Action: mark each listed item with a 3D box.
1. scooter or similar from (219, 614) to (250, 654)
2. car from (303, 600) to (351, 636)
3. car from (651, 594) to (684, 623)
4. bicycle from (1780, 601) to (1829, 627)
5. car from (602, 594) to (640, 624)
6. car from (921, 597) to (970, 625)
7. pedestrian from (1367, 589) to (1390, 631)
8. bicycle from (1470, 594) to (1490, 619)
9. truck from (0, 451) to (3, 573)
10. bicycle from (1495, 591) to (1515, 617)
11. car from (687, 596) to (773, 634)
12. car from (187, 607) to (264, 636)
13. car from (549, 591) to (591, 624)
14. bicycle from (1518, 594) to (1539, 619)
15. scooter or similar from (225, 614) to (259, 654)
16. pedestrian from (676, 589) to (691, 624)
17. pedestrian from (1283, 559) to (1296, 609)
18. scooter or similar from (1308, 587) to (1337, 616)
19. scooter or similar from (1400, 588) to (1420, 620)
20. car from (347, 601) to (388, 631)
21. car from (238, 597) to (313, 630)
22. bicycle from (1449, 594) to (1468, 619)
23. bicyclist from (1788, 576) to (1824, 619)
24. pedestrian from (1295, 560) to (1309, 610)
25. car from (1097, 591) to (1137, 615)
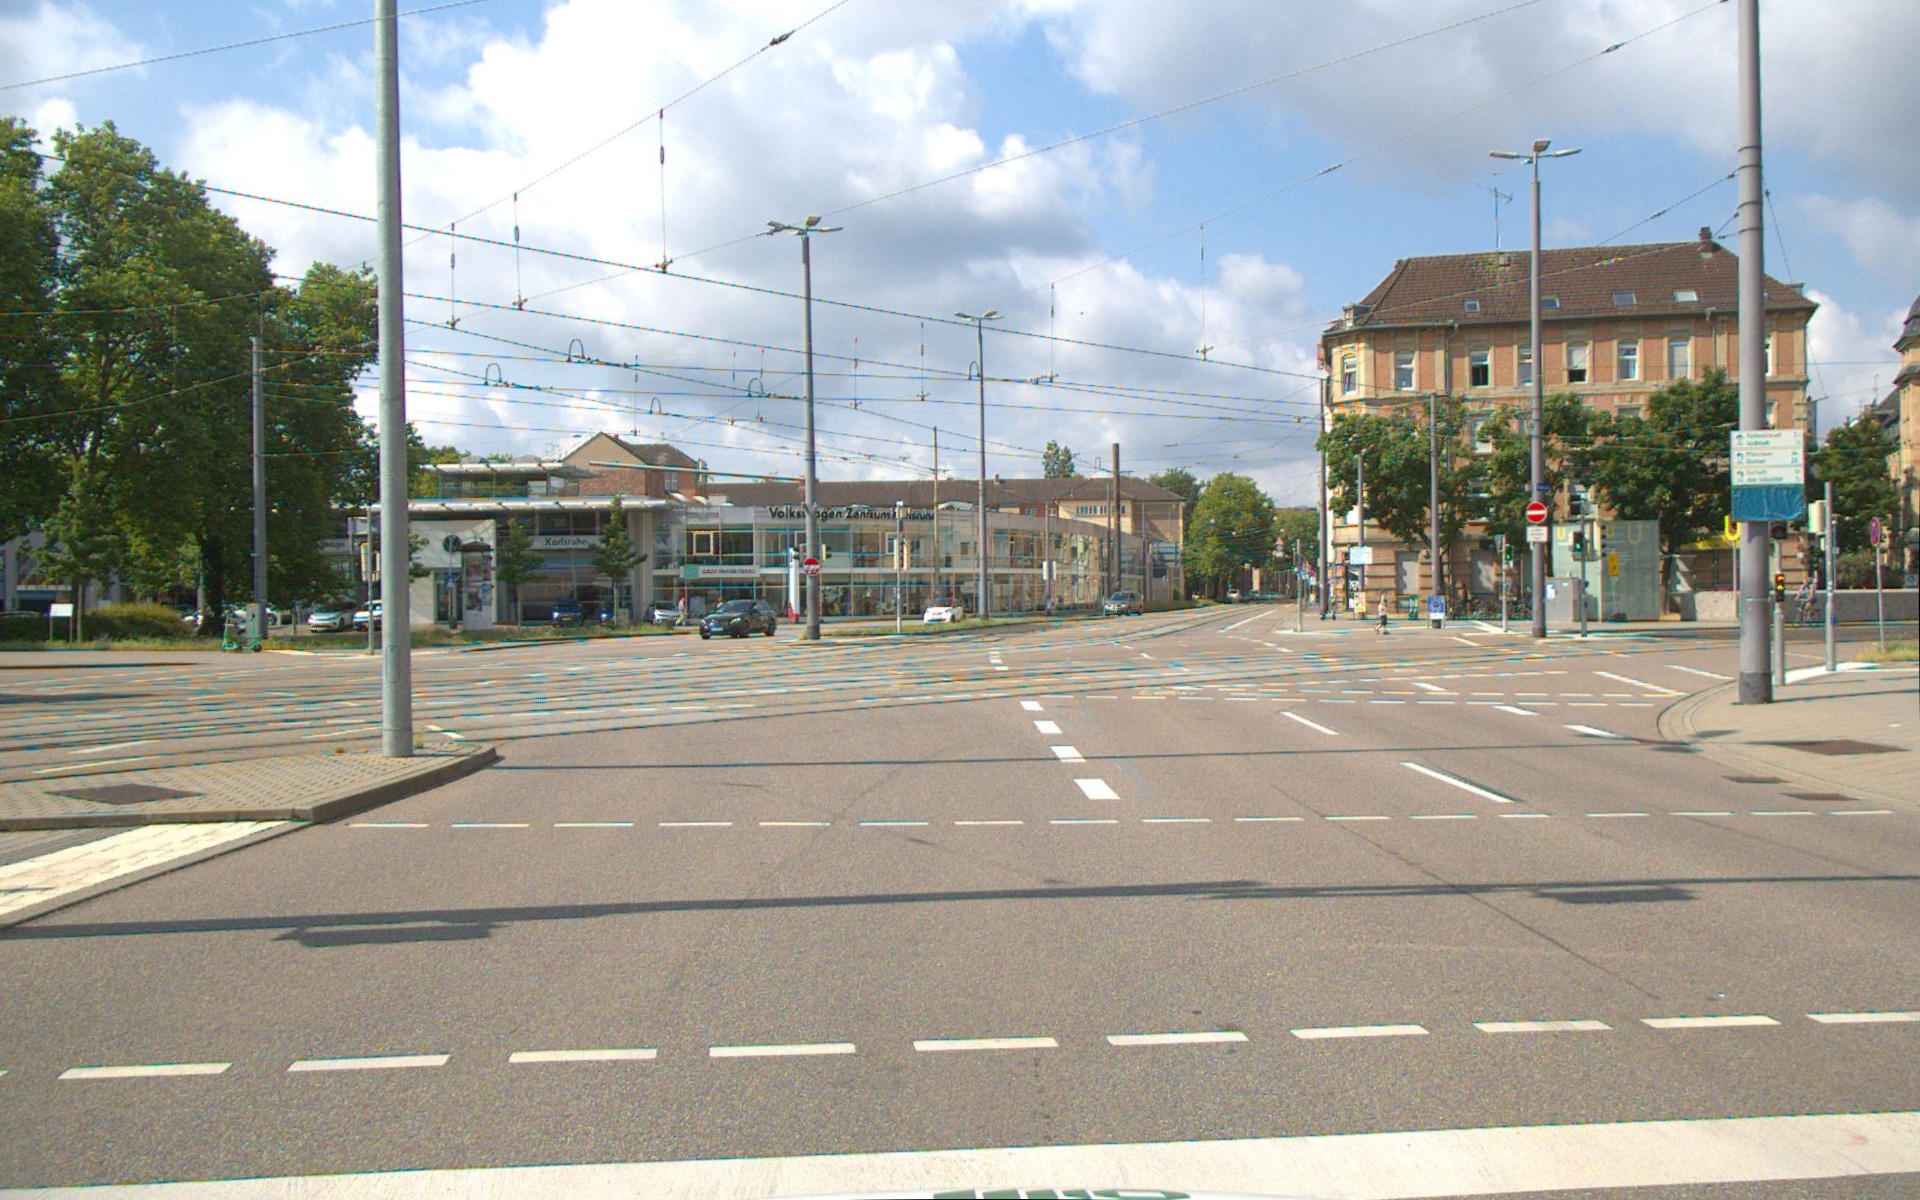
[{"bbox_3d":[-22.641,1.054,51.641,1.043,1.217,0.380,0,-1,35],"label":"scooter or similar"},{"bbox_3d":[-38.054,1.083,99.472,1.958,2.049,3.989,2,-1,-11],"label":"car"},{"bbox_3d":[-17.905,0.525,101.258,1.894,1.713,3.988,1,-1,-11],"label":"car"},{"bbox_3d":[33.670,0.556,65.916,1.751,0.973,0.840,-1,-1,-26],"label":"bicycle"},{"bbox_3d":[-20.349,0.542,99.292,1.956,1.756,3.992,1,-1,-8],"label":"car"},{"bbox_3d":[-0.775,0.640,92.402,1.650,1.495,3.658,1,-1,18],"label":"car"},{"bbox_3d":[15.304,0.360,60.492,0.725,1.542,0.545,-1,0,21],"label":"pedestrian"},{"bbox_3d":[25.312,0.293,80.536,0.742,1.186,2.687,1,0,14],"label":"bicycle"},{"bbox_3d":[-19.846,-0.454,26.927,7.877,4.079,2.838,1,-1,19],"label":"truck"},{"bbox_3d":[26.387,0.198,80.134,0.742,1.186,2.686,1,-1,15],"label":"bicycle"},{"bbox_3d":[-8.896,0.581,64.229,1.825,1.400,3.943,-1,0,16],"label":"car"},{"bbox_3d":[-41.553,1.235,93.617,3.596,1.514,1.672,2,0,-2],"label":"car"},{"bbox_3d":[-23.481,0.451,99.668,1.956,1.870,3.994,-2,-1,-7],"label":"car"},{"bbox_3d":[27.447,0.294,79.842,0.742,1.186,2.687,-1,0,14],"label":"bicycle"},{"bbox_3d":[-22.665,1.071,52.207,1.040,1.217,0.381,0,-1,24],"label":"scooter or similar"},{"bbox_3d":[-16.401,0.367,98.162,0.853,2.049,0.702,-1,0,-11],"label":"pedestrian"},{"bbox_3d":[21.262,-1.026,106.608,0.652,3.175,0.888,0,-1,22],"label":"pedestrian"},{"bbox_3d":[18.076,0.102,82.551,1.151,1.410,2.806,1,-1,7],"label":"scooter or similar"},{"bbox_3d":[21.954,0.182,80.721,0.859,1.508,2.016,-1,0,13],"label":"scooter or similar"},{"bbox_3d":[-35.747,0.959,99.863,1.753,1.712,3.989,-1,0,-11],"label":"car"},{"bbox_3d":[-43.877,0.876,106.065,3.904,2.049,2.000,1,-1,2],"label":"car"},{"bbox_3d":[24.393,0.305,80.932,0.742,1.186,2.687,-1,0,14],"label":"bicycle"},{"bbox_3d":[33.686,-0.087,65.822,1.124,1.704,0.613,0,-1,-11],"label":"bicyclist"},{"bbox_3d":[22.014,-0.960,106.308,0.710,3.130,0.888,0,-1,22],"label":"pedestrian"},{"bbox_3d":[10.926,0.189,114.867,1.952,1.601,3.738,-1,0,18],"label":"car"}]
